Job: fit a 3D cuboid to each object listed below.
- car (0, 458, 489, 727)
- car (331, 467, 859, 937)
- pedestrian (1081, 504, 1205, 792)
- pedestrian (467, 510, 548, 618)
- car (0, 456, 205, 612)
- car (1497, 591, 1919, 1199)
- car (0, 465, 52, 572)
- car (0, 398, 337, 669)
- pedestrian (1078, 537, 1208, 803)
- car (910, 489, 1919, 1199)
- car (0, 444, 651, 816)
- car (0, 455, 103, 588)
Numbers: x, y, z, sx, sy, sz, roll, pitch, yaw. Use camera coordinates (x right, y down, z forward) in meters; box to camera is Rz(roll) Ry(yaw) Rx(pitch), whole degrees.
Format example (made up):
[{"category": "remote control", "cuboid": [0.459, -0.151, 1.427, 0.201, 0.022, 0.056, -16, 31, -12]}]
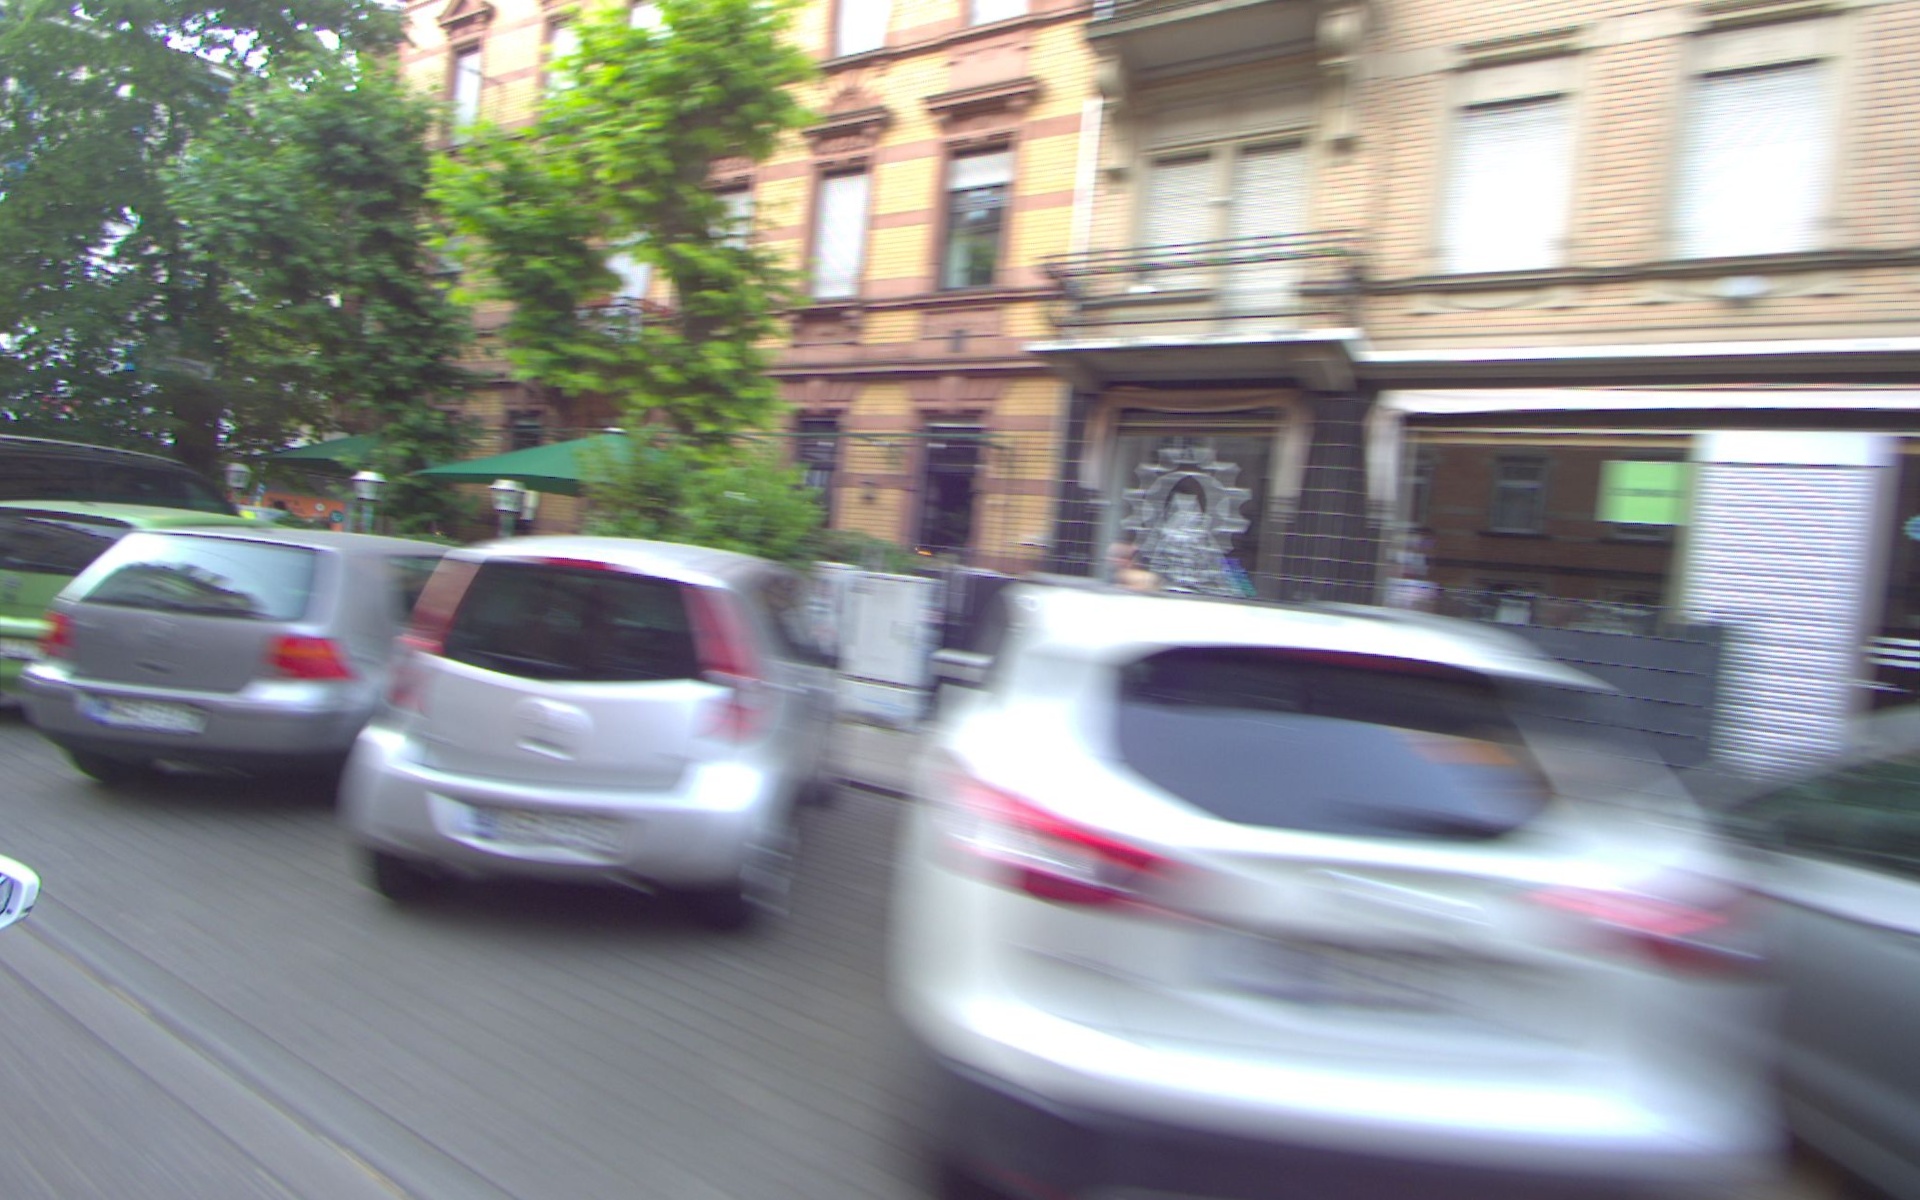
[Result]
[{"category": "car", "cuboid": [-5.814, -0.156, 8.343, 1.785, 1.573, 4.104, 6, 2, 0]}, {"category": "car", "cuboid": [-1.564, 0.314, 5.788, 1.786, 1.612, 4.100, 6, 2, -6]}, {"category": "pedestrian", "cuboid": [1.403, 0.354, 7.645, 0.643, 2.038, 0.626, 6, -1, 16]}, {"category": "pedestrian", "cuboid": [-6.278, -0.498, 13.961, 0.685, 1.382, 0.589, 6, -1, 28]}, {"category": "car", "cuboid": [-11.049, -0.824, 11.342, 1.898, 1.644, 4.218, 6, 2, -2]}, {"category": "car", "cuboid": [3.429, 0.950, 2.460, 1.851, 1.612, 4.161, 7, 2, 0]}, {"category": "car", "cuboid": [-15.770, -1.340, 14.459, 1.662, 1.649, 4.045, 7, 2, 0]}, {"category": "car", "cuboid": [-8.618, -0.717, 9.967, 1.899, 2.101, 5.425, 6, 2, -7]}, {"category": "pedestrian", "cuboid": [1.285, 0.473, 6.981, 0.643, 1.701, 0.626, 6, -1, 17]}, {"category": "car", "cuboid": [0.873, 0.640, 3.747, 1.785, 1.612, 4.104, 6, 2, 1]}, {"category": "car", "cuboid": [-3.679, 0.072, 6.798, 1.785, 1.573, 4.104, 6, 2, 0]}, {"category": "car", "cuboid": [-13.190, -1.078, 12.401, 1.899, 1.711, 4.215, 6, 2, -7]}]
